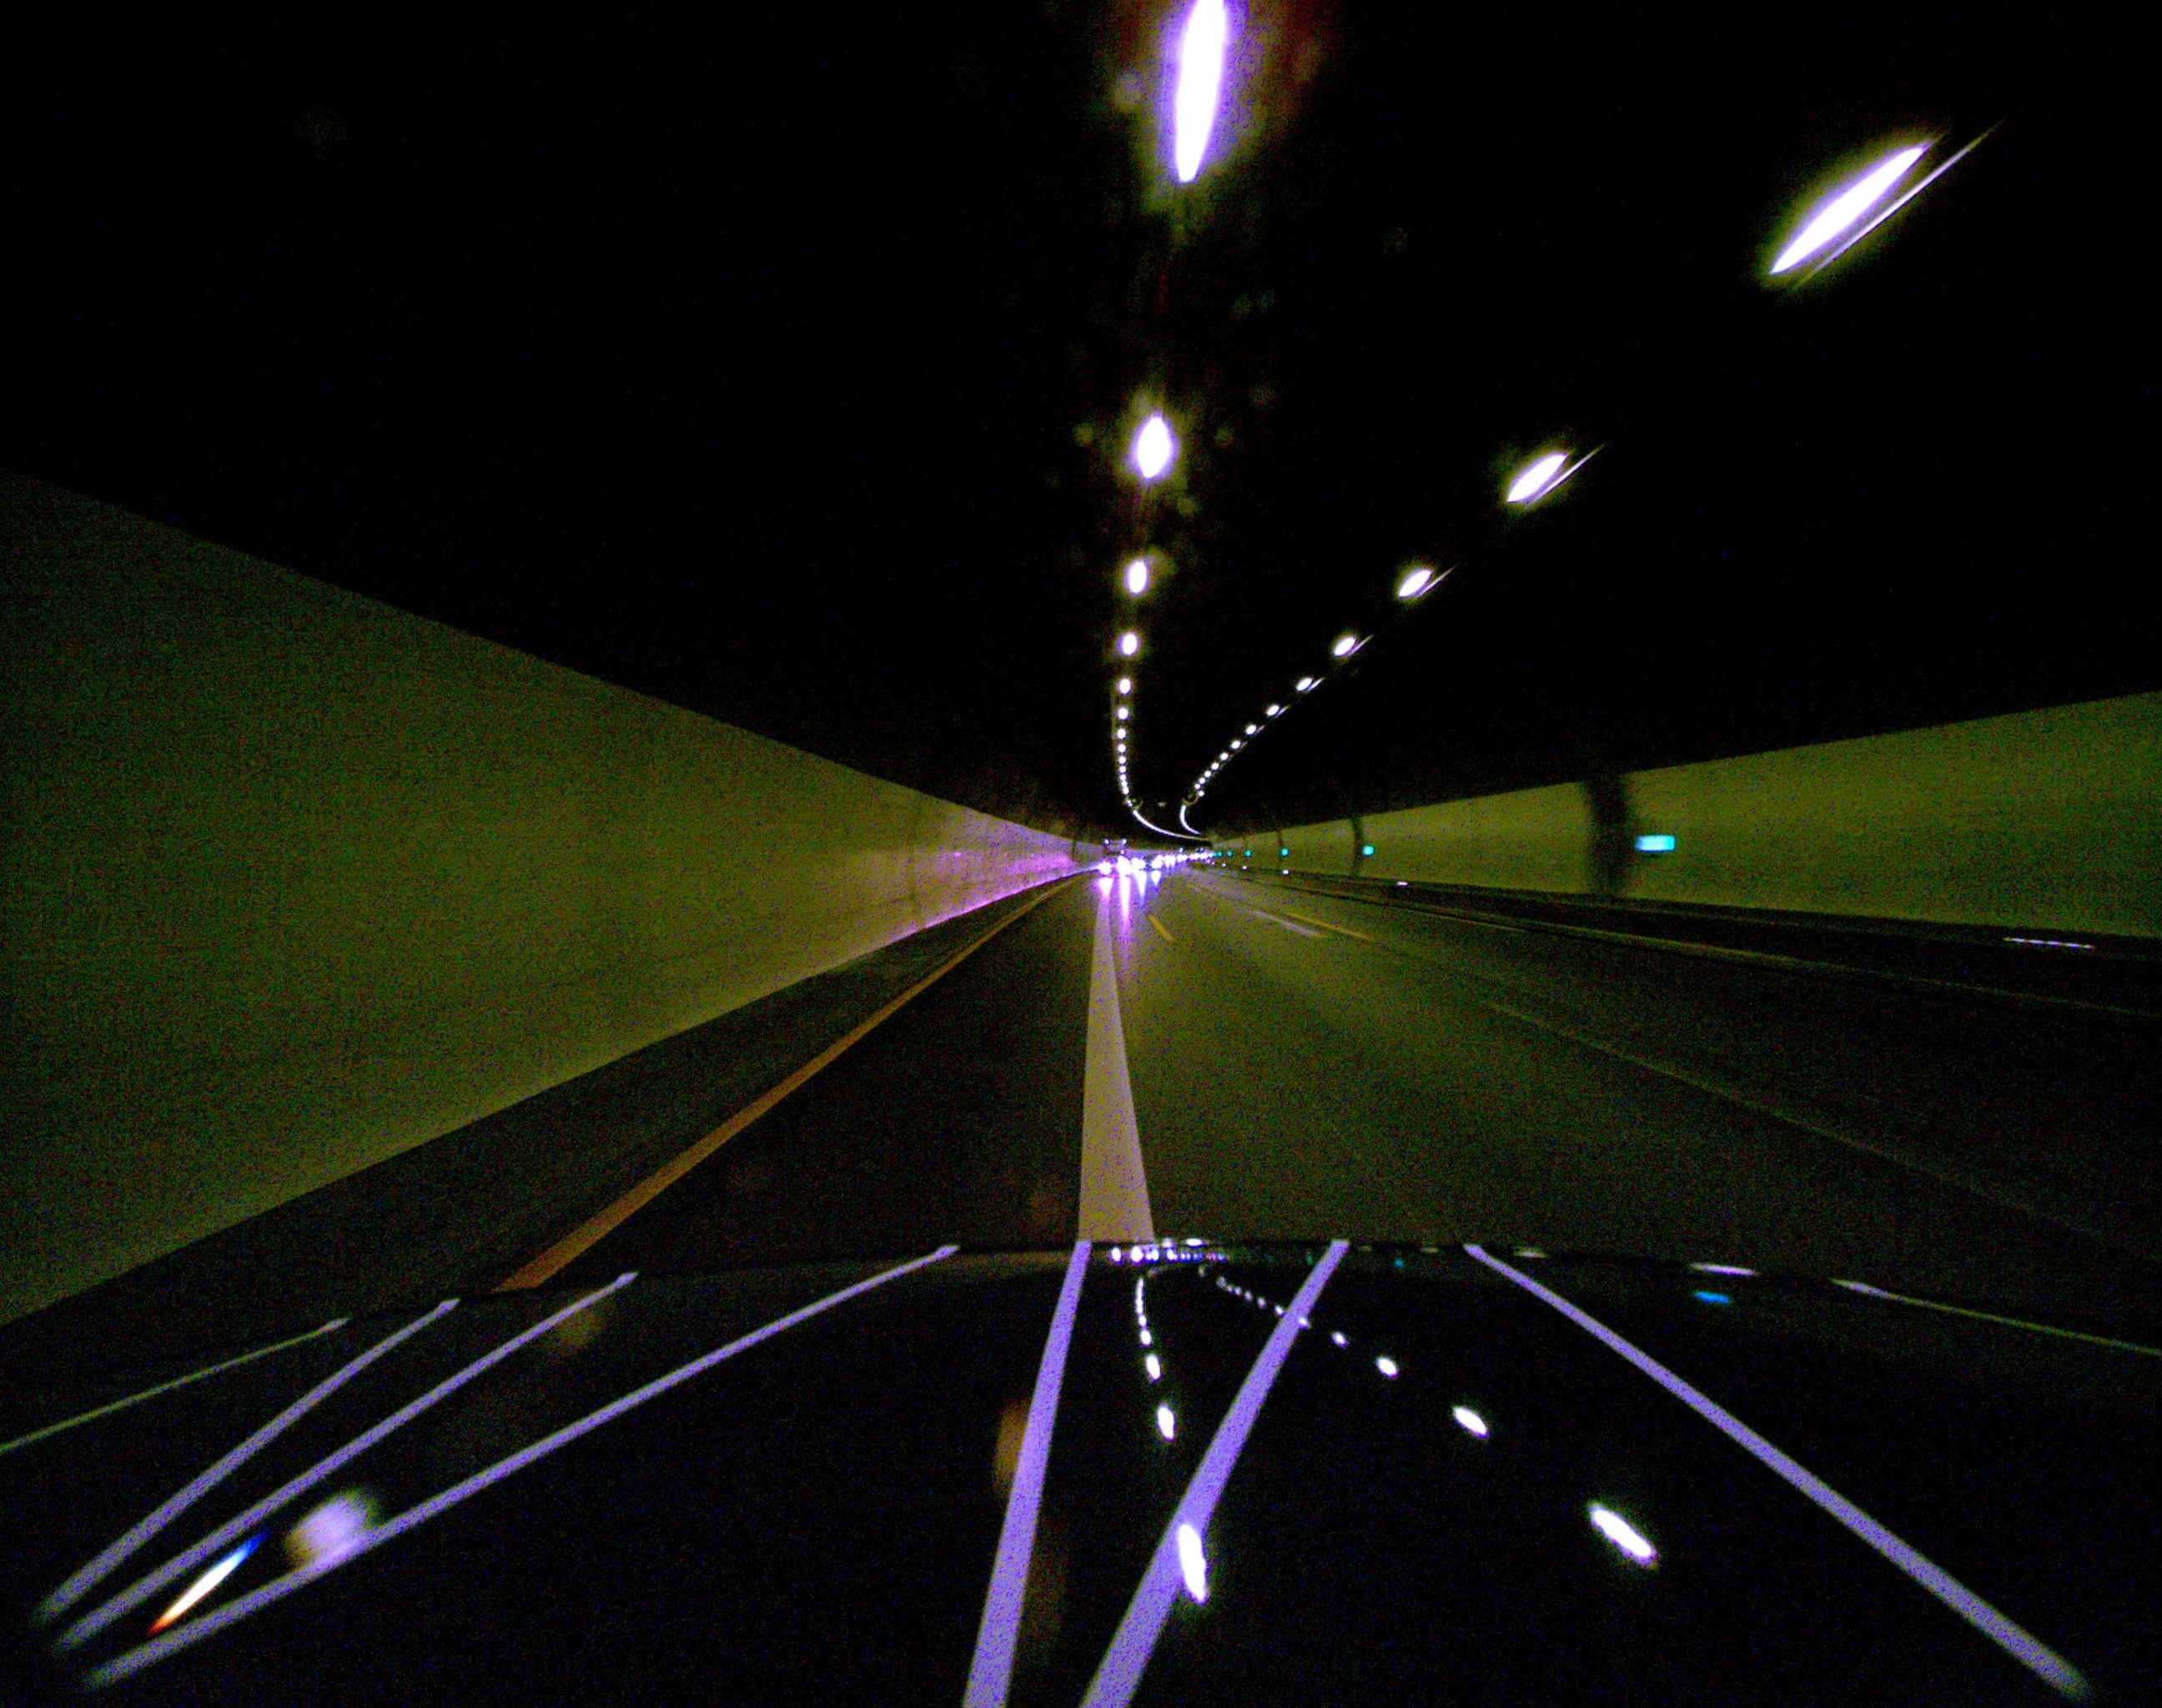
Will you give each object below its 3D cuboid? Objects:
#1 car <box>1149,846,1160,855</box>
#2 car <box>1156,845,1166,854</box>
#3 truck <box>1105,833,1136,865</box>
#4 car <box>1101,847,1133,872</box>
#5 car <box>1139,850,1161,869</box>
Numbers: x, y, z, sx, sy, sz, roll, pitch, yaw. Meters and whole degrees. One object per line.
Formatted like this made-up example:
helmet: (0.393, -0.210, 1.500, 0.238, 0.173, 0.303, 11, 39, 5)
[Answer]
car: (15.952, -0.725, 164.364, 1.997, 1.893, 4.003, -2, 0, 10)
car: (19.146, -1.085, 182.021, 1.997, 1.917, 4.389, -2, 0, 12)
truck: (4.446, -0.557, 84.013, 2.988, 3.161, 10.512, -2, 0, 5)
car: (2.727, 0.413, 56.368, 2.171, 1.709, 4.482, -2, 0, 4)
car: (6.773, 0.481, 74.397, 1.998, 1.655, 4.001, -3, 1, 5)
